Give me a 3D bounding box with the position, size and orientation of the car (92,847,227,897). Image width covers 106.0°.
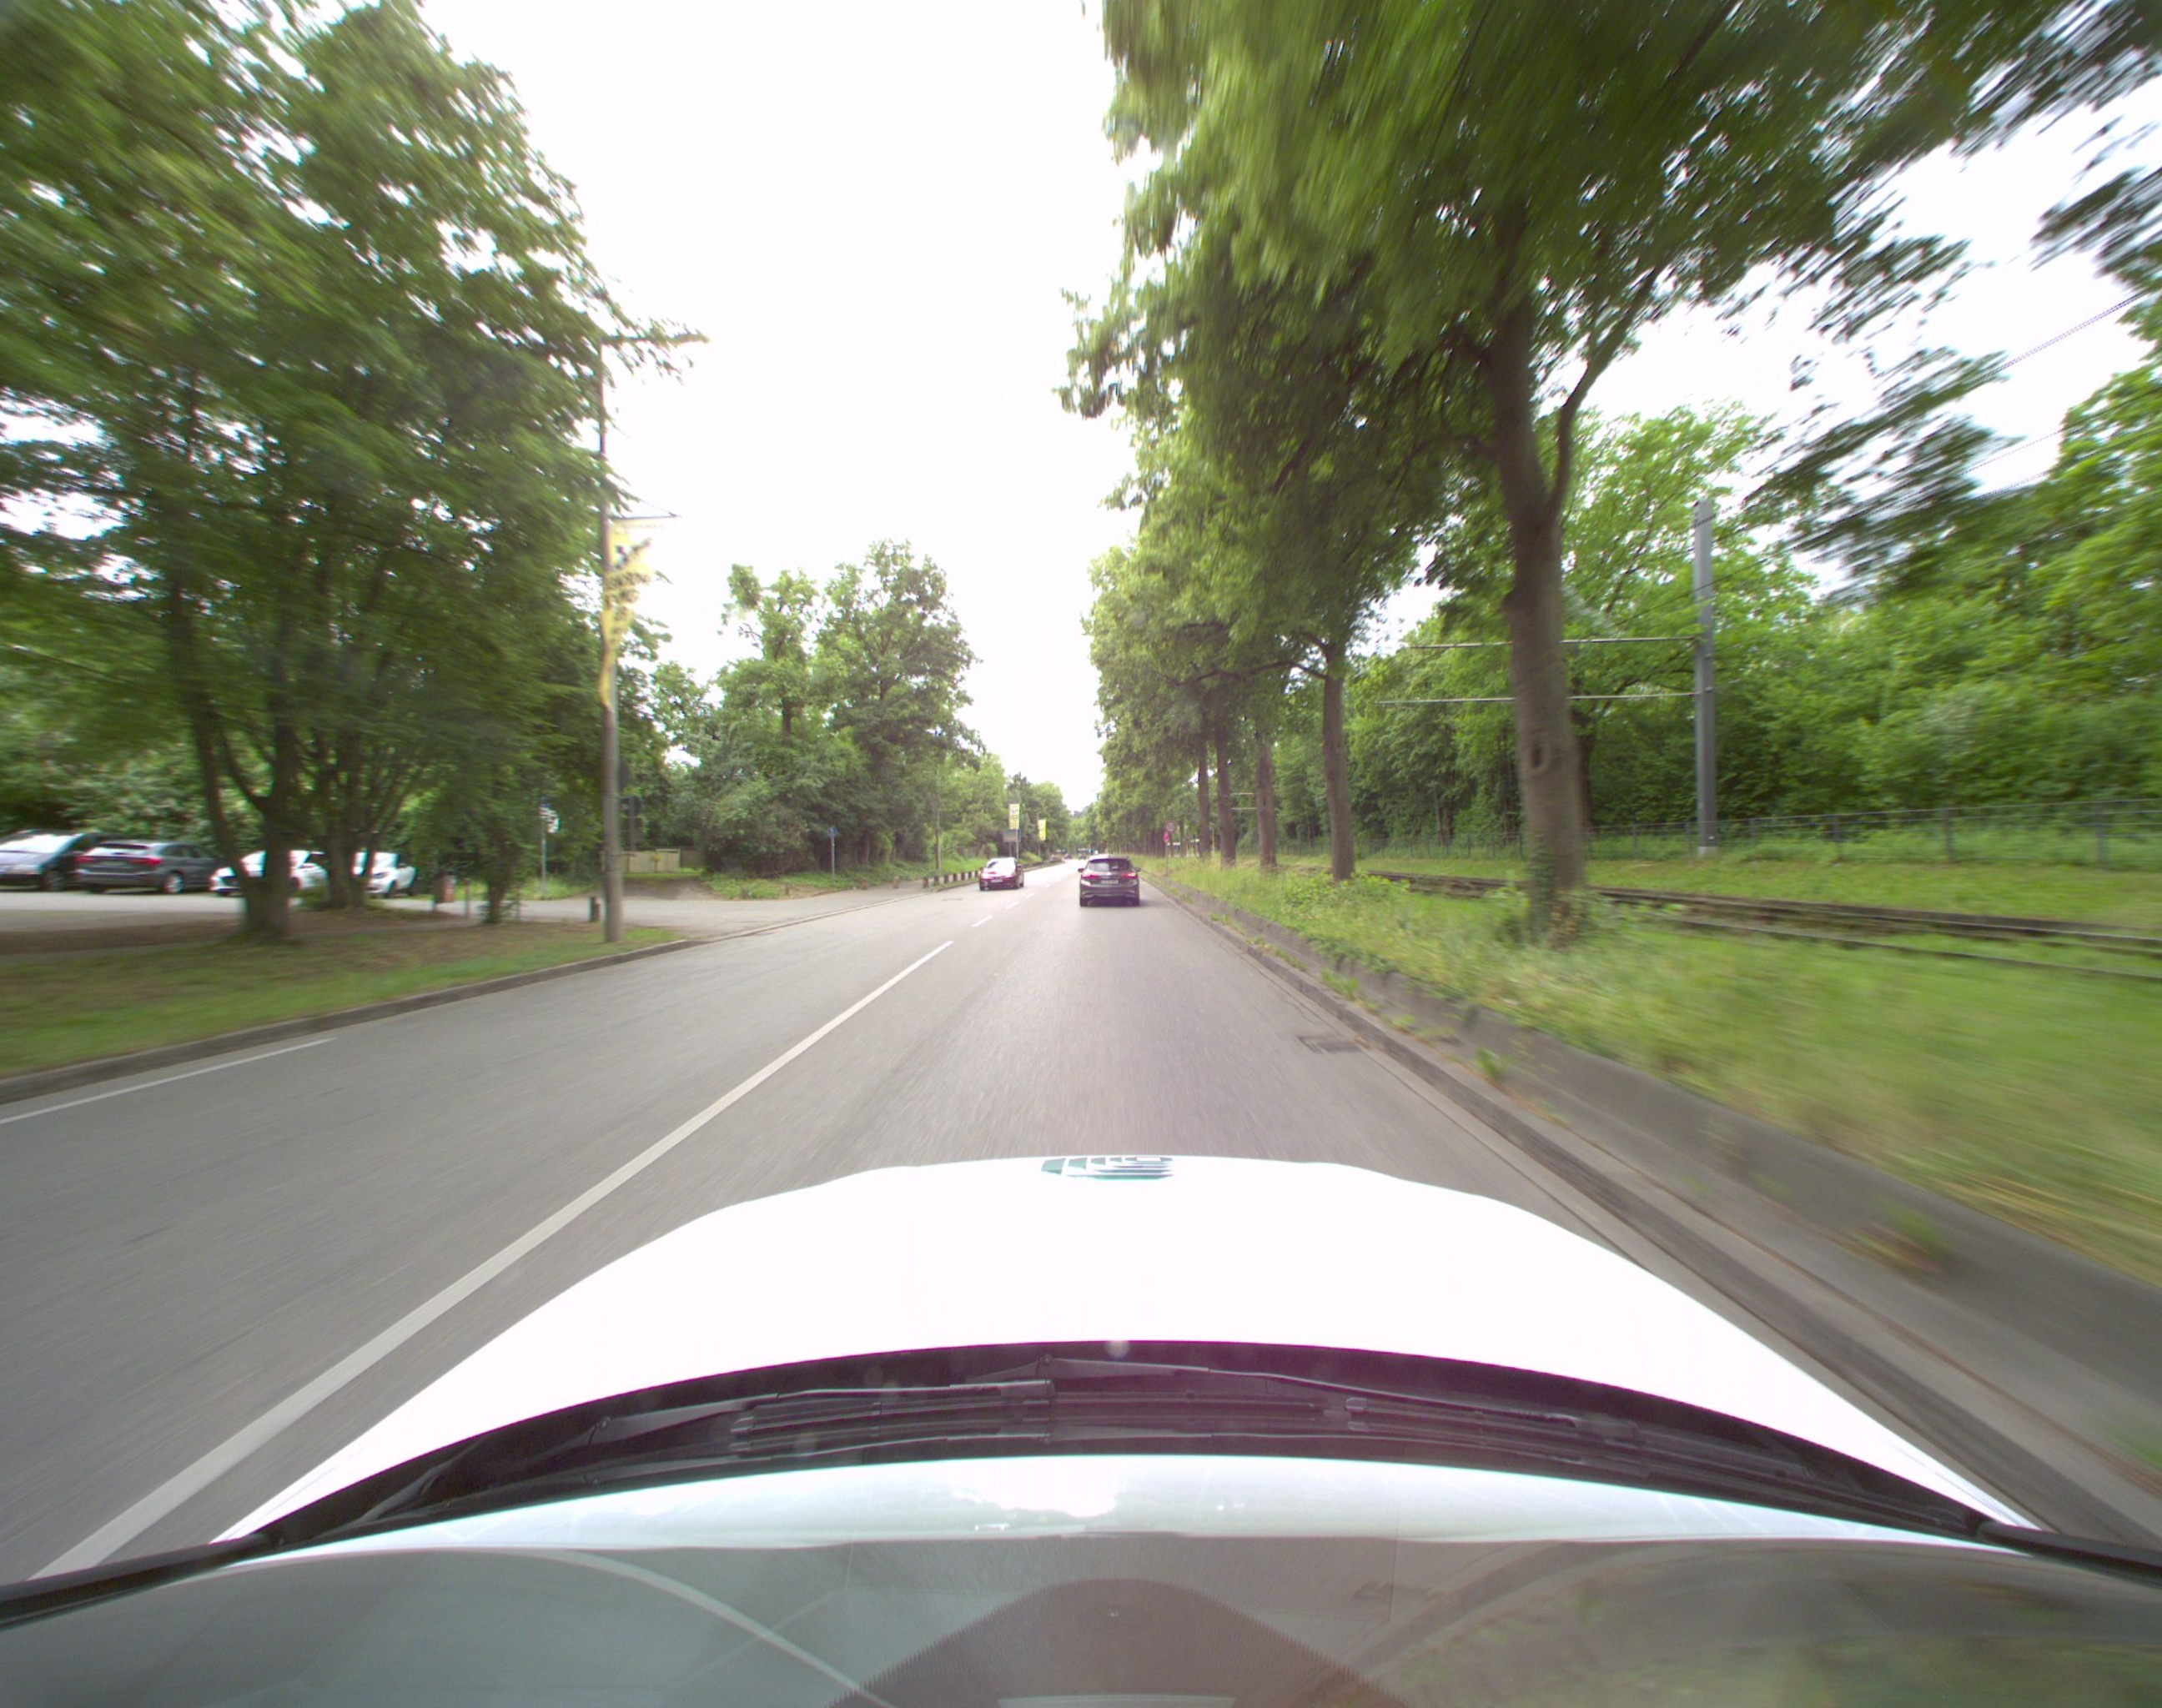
[{"bbox_3d":[-27.807,0.520,24.703,1.375,1.402,3.050,1,-1,-20],"label":"car"}]

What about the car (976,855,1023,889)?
[{"bbox_3d":[-3.722,0.800,37.888,1.711,1.428,4.195,-3,0,-1],"label":"car"}]

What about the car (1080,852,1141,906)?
[{"bbox_3d":[0.873,0.708,24.966,1.724,1.537,3.552,0,0,1],"label":"car"}]

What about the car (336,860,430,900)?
[{"bbox_3d":[-23.416,0.844,27.423,1.375,1.238,3.050,1,-1,-20],"label":"car"}]

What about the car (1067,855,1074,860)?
[{"bbox_3d":[-3.105,0.919,243.706,1.562,1.441,3.538,0,0,-11],"label":"car"}]

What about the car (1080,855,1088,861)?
[{"bbox_3d":[0.658,0.964,210.576,1.560,1.441,3.541,0,0,-8],"label":"car"}]

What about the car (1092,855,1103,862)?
[{"bbox_3d":[3.620,0.975,175.963,1.563,1.441,3.536,0,0,-13],"label":"car"}]

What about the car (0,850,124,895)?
[{"bbox_3d":[-30.014,0.506,23.799,1.267,1.212,3.050,1,-1,-20],"label":"car"}]

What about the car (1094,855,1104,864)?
[{"bbox_3d":[2.957,0.852,135.042,1.555,1.441,3.554,0,0,2],"label":"car"}]

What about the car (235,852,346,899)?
[{"bbox_3d":[-25.131,0.665,26.002,1.375,1.402,3.050,1,-1,-20],"label":"car"}]
